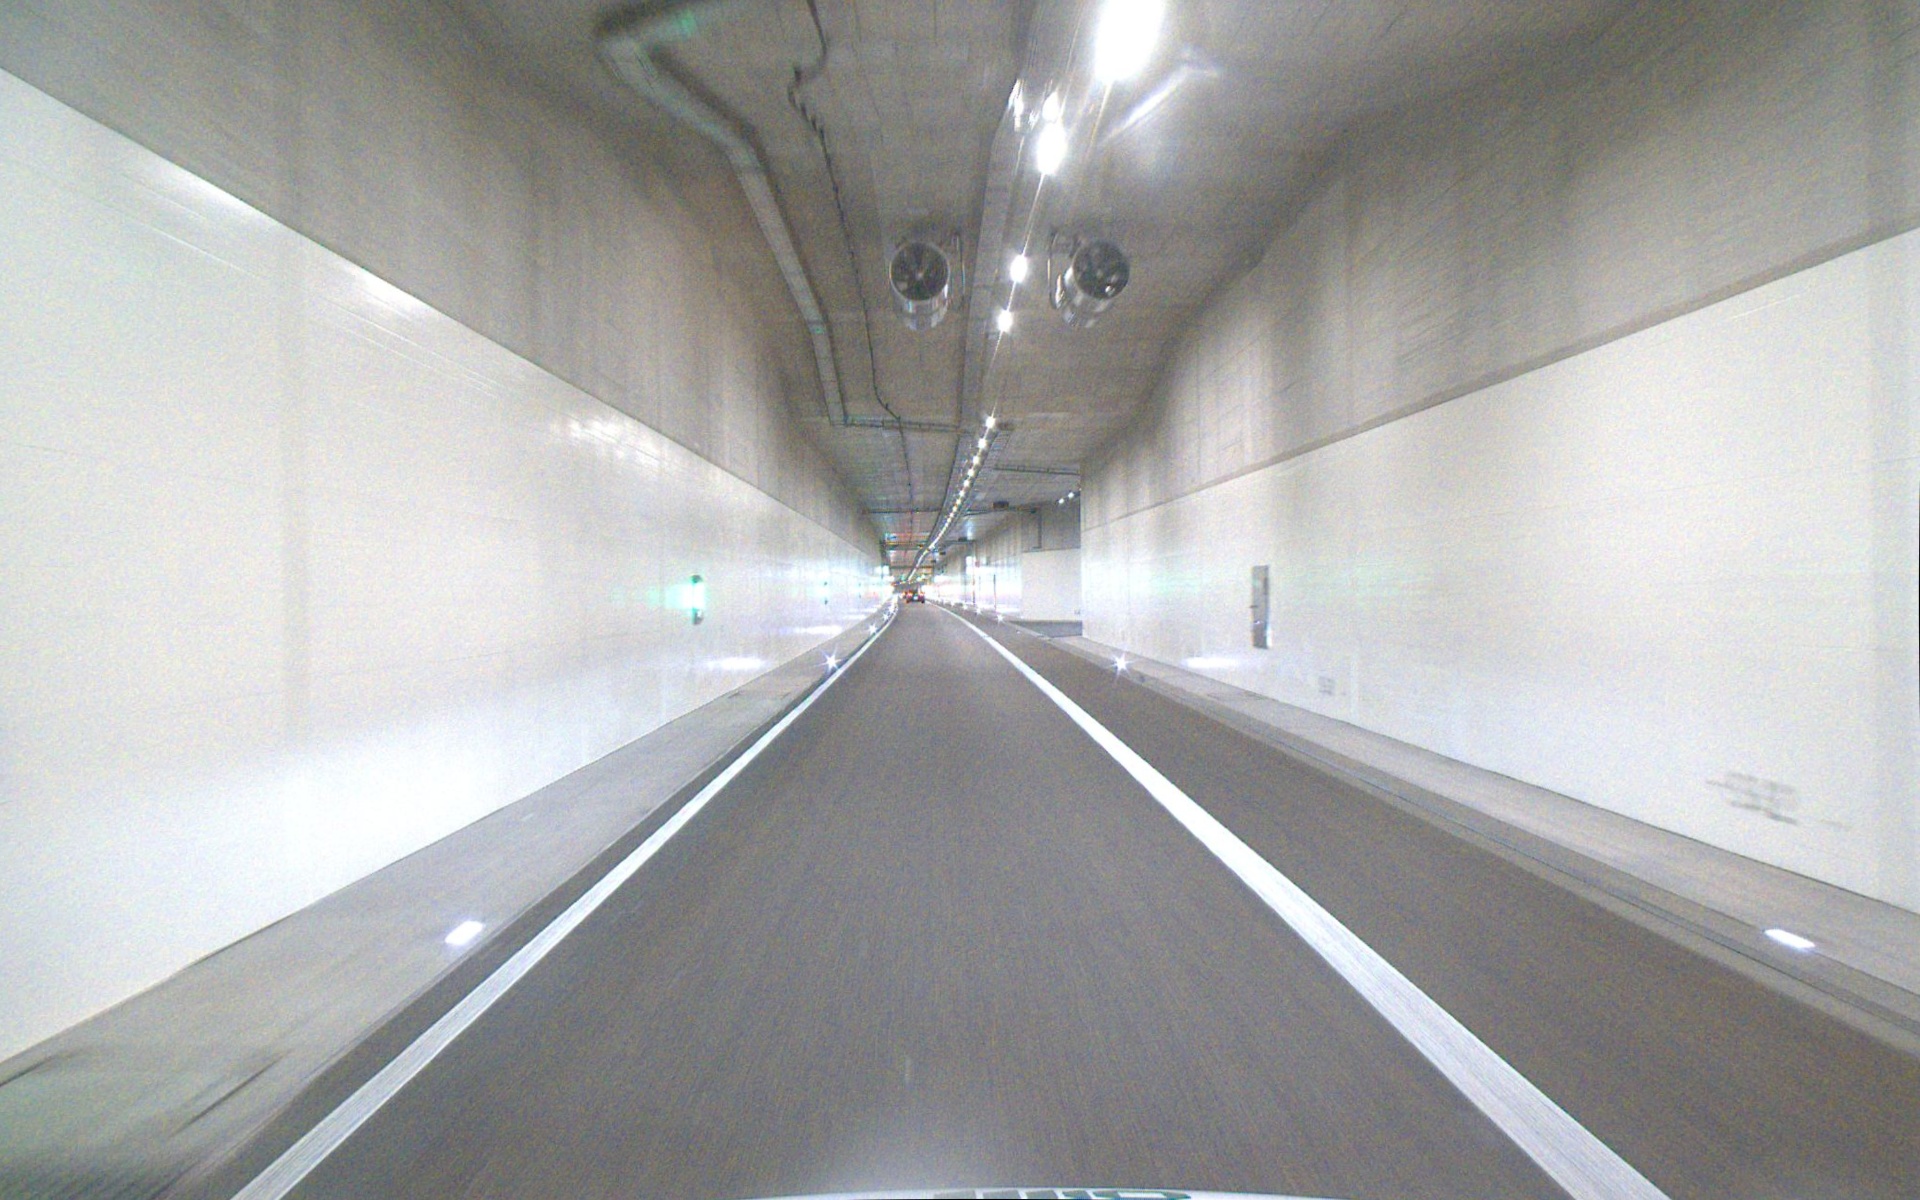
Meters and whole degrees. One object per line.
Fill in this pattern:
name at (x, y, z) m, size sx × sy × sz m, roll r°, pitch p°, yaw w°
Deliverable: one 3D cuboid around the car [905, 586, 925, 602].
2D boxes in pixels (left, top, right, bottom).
car at (-4.549, -0.612, 166.211) m, size 1.954 × 1.445 × 3.998 m, roll -3°, pitch 0°, yaw -3°
